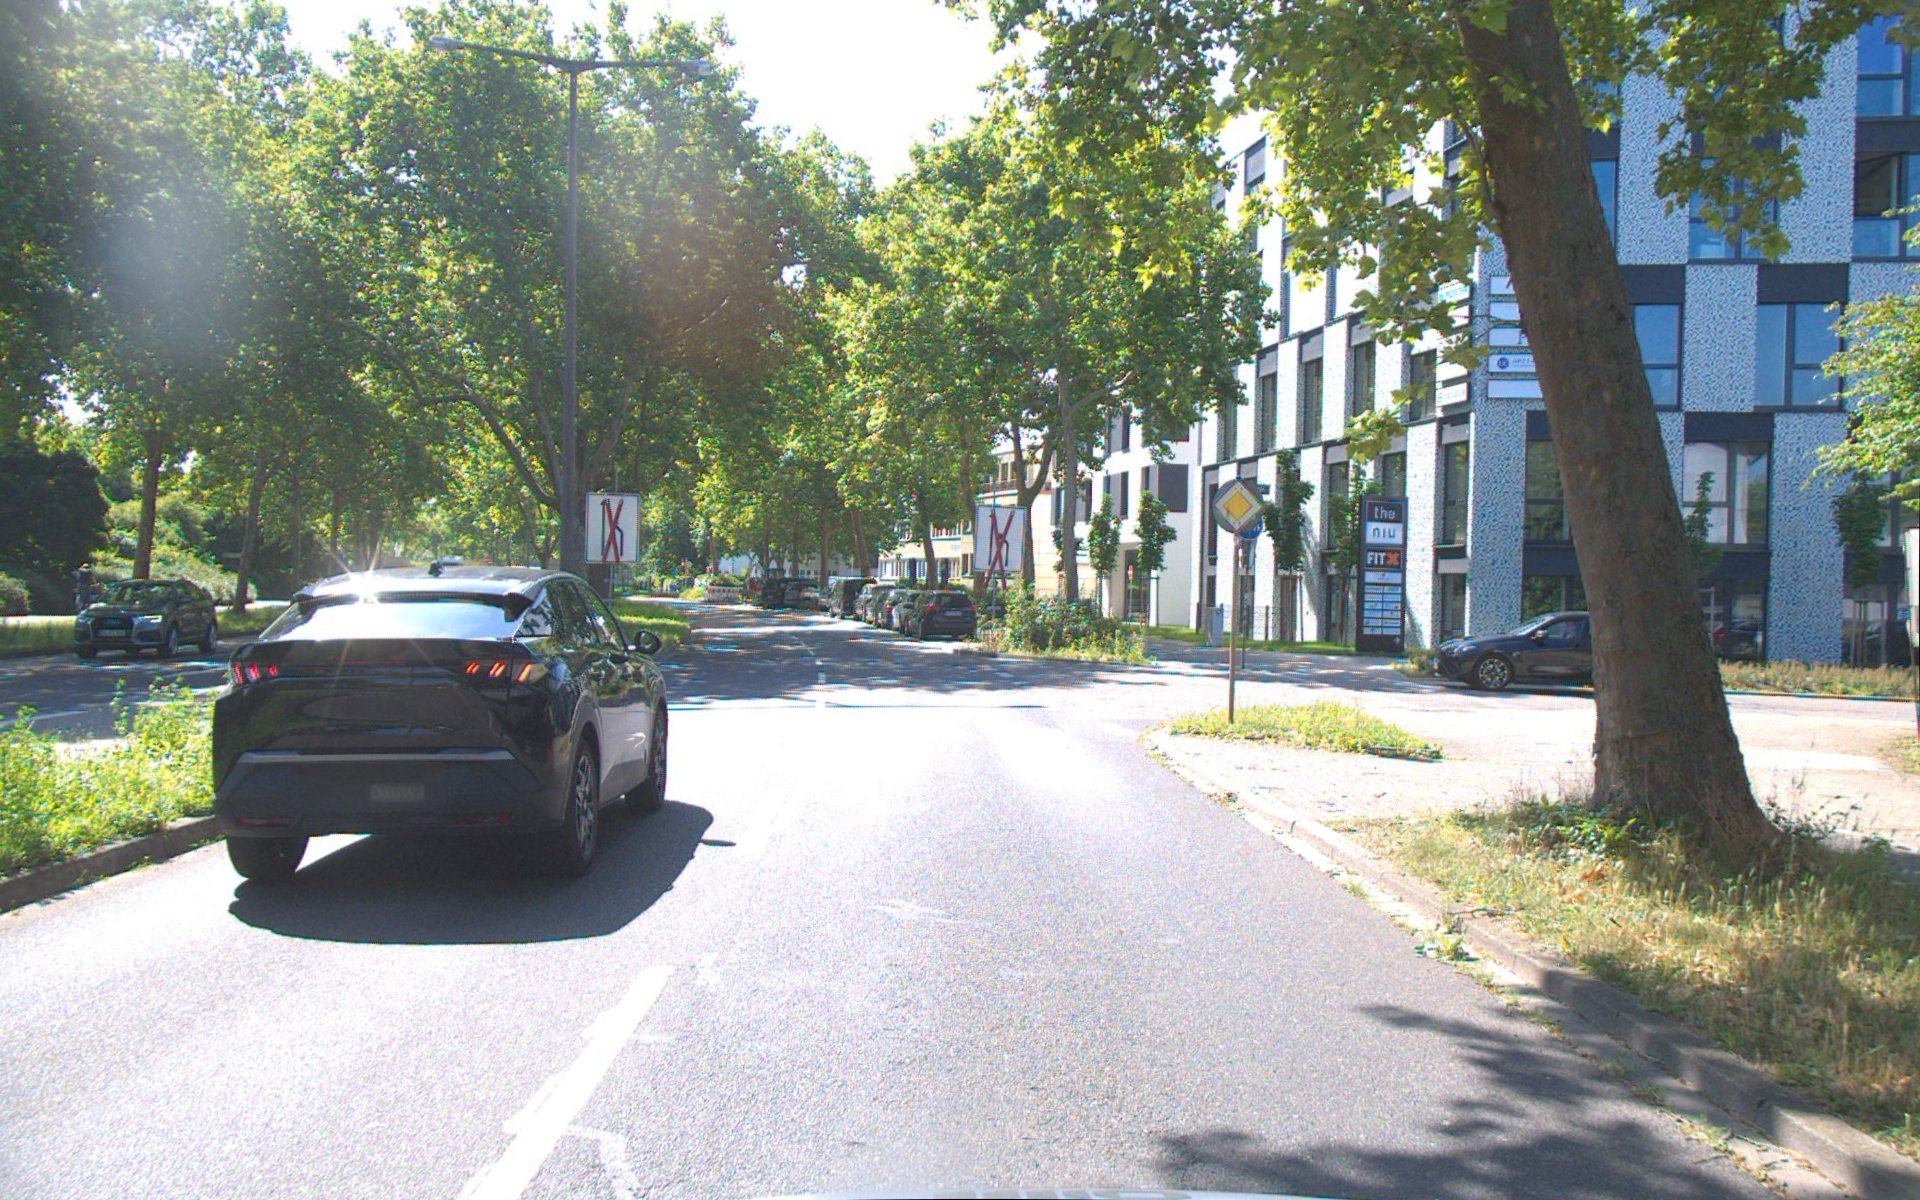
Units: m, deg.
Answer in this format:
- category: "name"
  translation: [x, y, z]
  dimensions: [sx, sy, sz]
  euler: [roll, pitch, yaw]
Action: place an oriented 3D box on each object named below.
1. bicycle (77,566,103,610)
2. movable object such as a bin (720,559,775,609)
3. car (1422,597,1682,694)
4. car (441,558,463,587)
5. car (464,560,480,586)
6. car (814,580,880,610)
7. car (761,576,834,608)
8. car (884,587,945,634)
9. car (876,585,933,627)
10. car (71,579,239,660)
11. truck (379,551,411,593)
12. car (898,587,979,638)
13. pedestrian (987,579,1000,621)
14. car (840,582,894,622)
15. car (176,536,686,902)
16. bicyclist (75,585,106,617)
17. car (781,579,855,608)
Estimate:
- category: "bicycle"
  translation: [-28.724, -0.393, 54.597]
  dimensions: [0.420, 1.409, 0.953]
  euler: [1, 0, -8]
- category: "movable object such as a bin"
  translation: [-14.438, -1.094, 112.460]
  dimensions: [2.311, 3.297, 3.385]
  euler: [1, 0, -38]
- category: "car"
  translation: [10.768, 0.802, 30.364]
  dimensions: [4.157, 1.544, 2.002]
  euler: [2, 0, 9]
- category: "car"
  translation: [-67.278, -3.677, 218.909]
  dimensions: [2.413, 3.509, 7.062]
  euler: [3, 1, -18]
- category: "car"
  translation: [-67.686, -3.682, 229.441]
  dimensions: [2.025, 3.494, 6.737]
  euler: [1, 0, -17]
- category: "car"
  translation: [-6.498, -0.304, 95.019]
  dimensions: [3.494, 1.668, 1.652]
  euler: [1, 0, -16]
- category: "car"
  translation: [-9.896, -0.475, 100.789]
  dimensions: [4.057, 1.912, 1.767]
  euler: [1, 0, -30]
- category: "car"
  translation: [-1.619, 0.337, 57.391]
  dimensions: [1.674, 1.513, 4.094]
  euler: [1, 0, -8]
- category: "car"
  translation: [-2.142, 0.207, 62.402]
  dimensions: [1.674, 1.480, 4.647]
  euler: [1, 0, -8]
- category: "car"
  translation: [-16.906, 0.380, 34.956]
  dimensions: [1.760, 1.583, 4.390]
  euler: [0, 0, -6]
- category: "truck"
  translation: [-50.875, -2.583, 148.960]
  dimensions: [2.415, 3.509, 7.057]
  euler: [3, 1, -20]
- category: "car"
  translation: [-0.722, 0.352, 51.616]
  dimensions: [1.676, 1.513, 4.705]
  euler: [0, 1, -12]
- category: "pedestrian"
  translation: [1.473, -0.008, 73.306]
  dimensions: [0.467, 1.839, 0.636]
  euler: [1, 0, -9]
- category: "car"
  translation: [-4.214, 0.078, 74.491]
  dimensions: [1.677, 1.698, 4.519]
  euler: [1, 0, -13]
- category: "car"
  translation: [-2.871, 0.570, 10.070]
  dimensions: [1.835, 1.726, 4.433]
  euler: [0, 0, -3]
- category: "bicyclist"
  translation: [-28.721, 0.030, 54.620]
  dimensions: [0.420, 1.031, 1.422]
  euler: [1, 0, -8]
- category: "car"
  translation: [-8.506, -0.373, 99.216]
  dimensions: [4.054, 1.662, 1.696]
  euler: [1, 0, -29]
